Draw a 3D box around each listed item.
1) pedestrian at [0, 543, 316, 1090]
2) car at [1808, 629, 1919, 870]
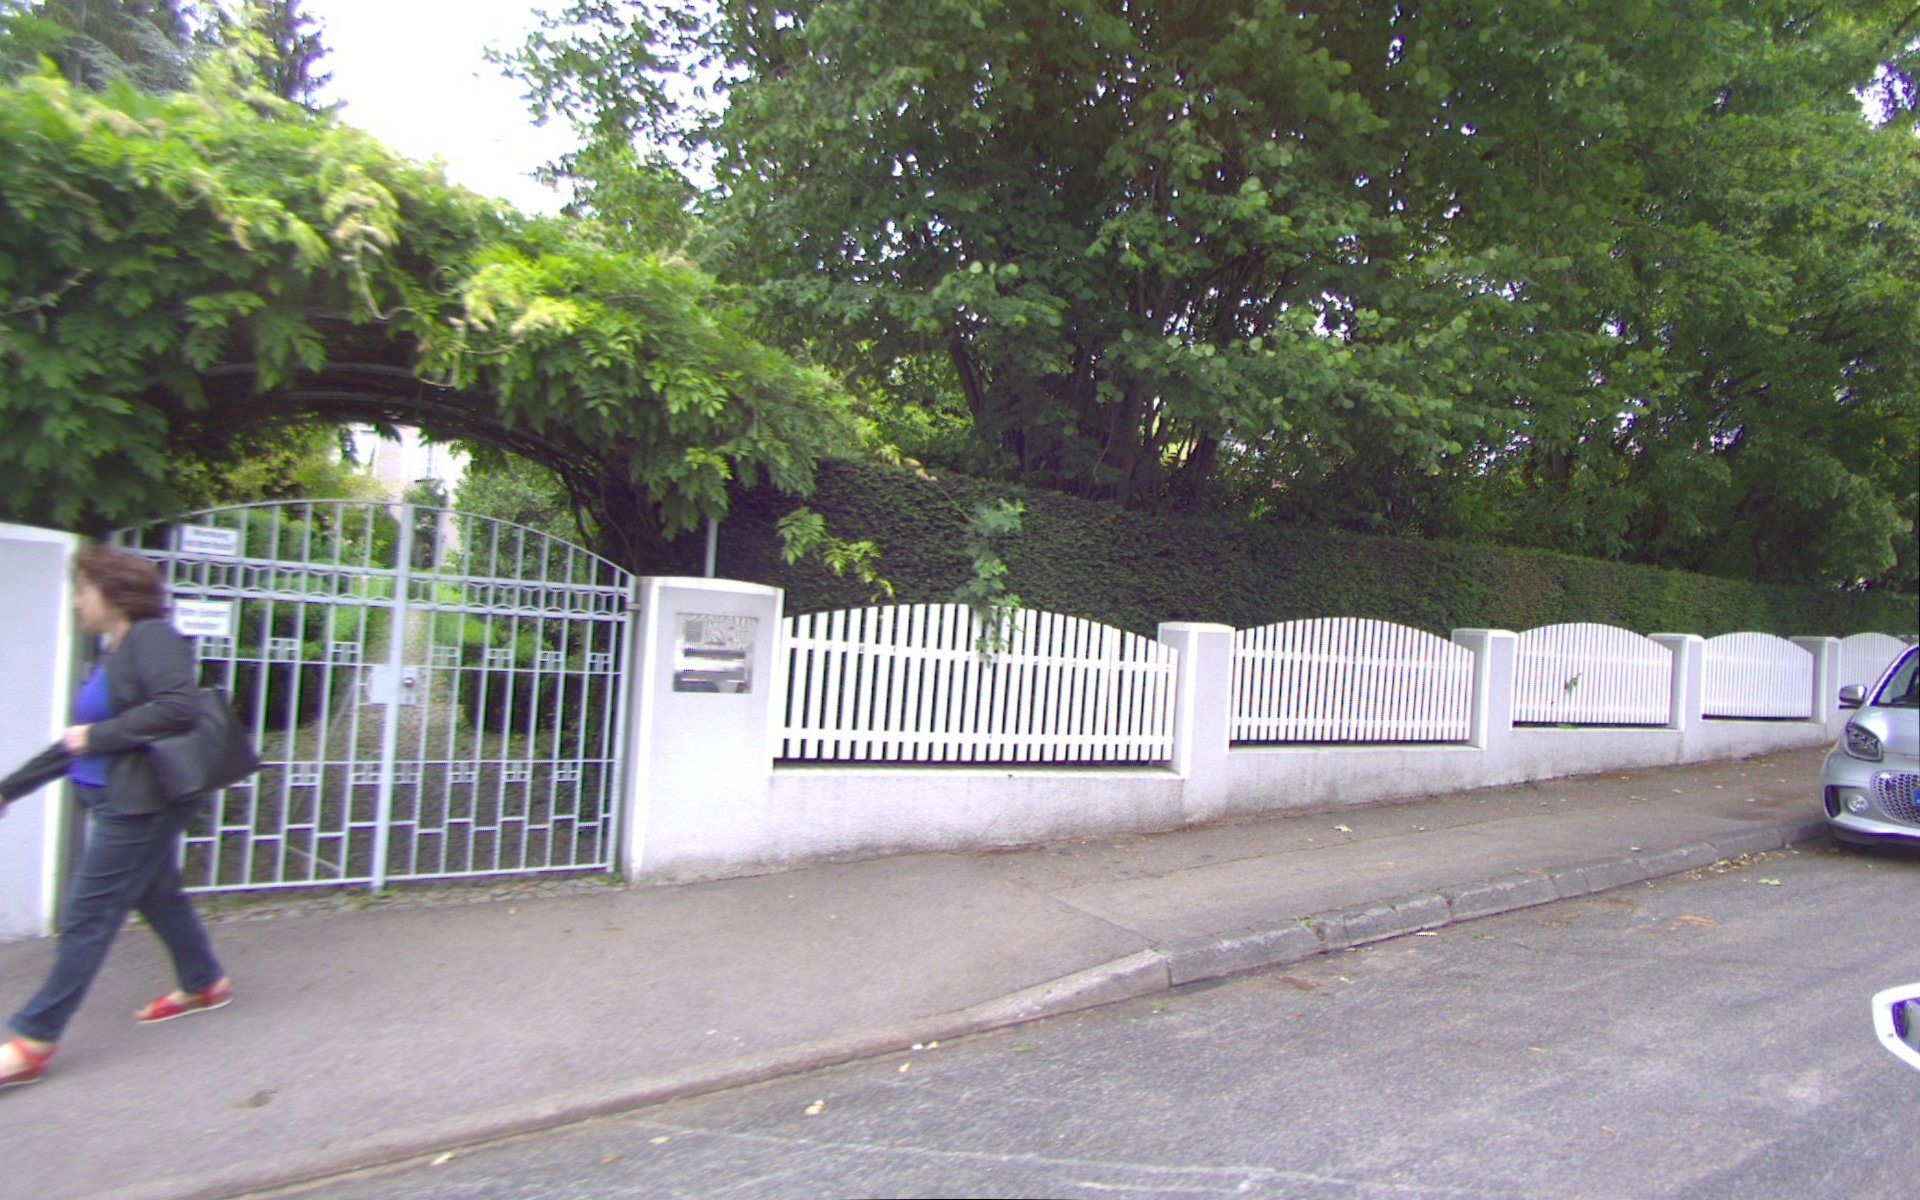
[{"bbox_3d":[-2.622,0.632,3.307,0.788,1.567,0.605,2,5,-31],"label":"pedestrian"},{"bbox_3d":[7.562,0.991,7.111,2.931,1.553,1.612,1,-2,-34],"label":"car"}]
